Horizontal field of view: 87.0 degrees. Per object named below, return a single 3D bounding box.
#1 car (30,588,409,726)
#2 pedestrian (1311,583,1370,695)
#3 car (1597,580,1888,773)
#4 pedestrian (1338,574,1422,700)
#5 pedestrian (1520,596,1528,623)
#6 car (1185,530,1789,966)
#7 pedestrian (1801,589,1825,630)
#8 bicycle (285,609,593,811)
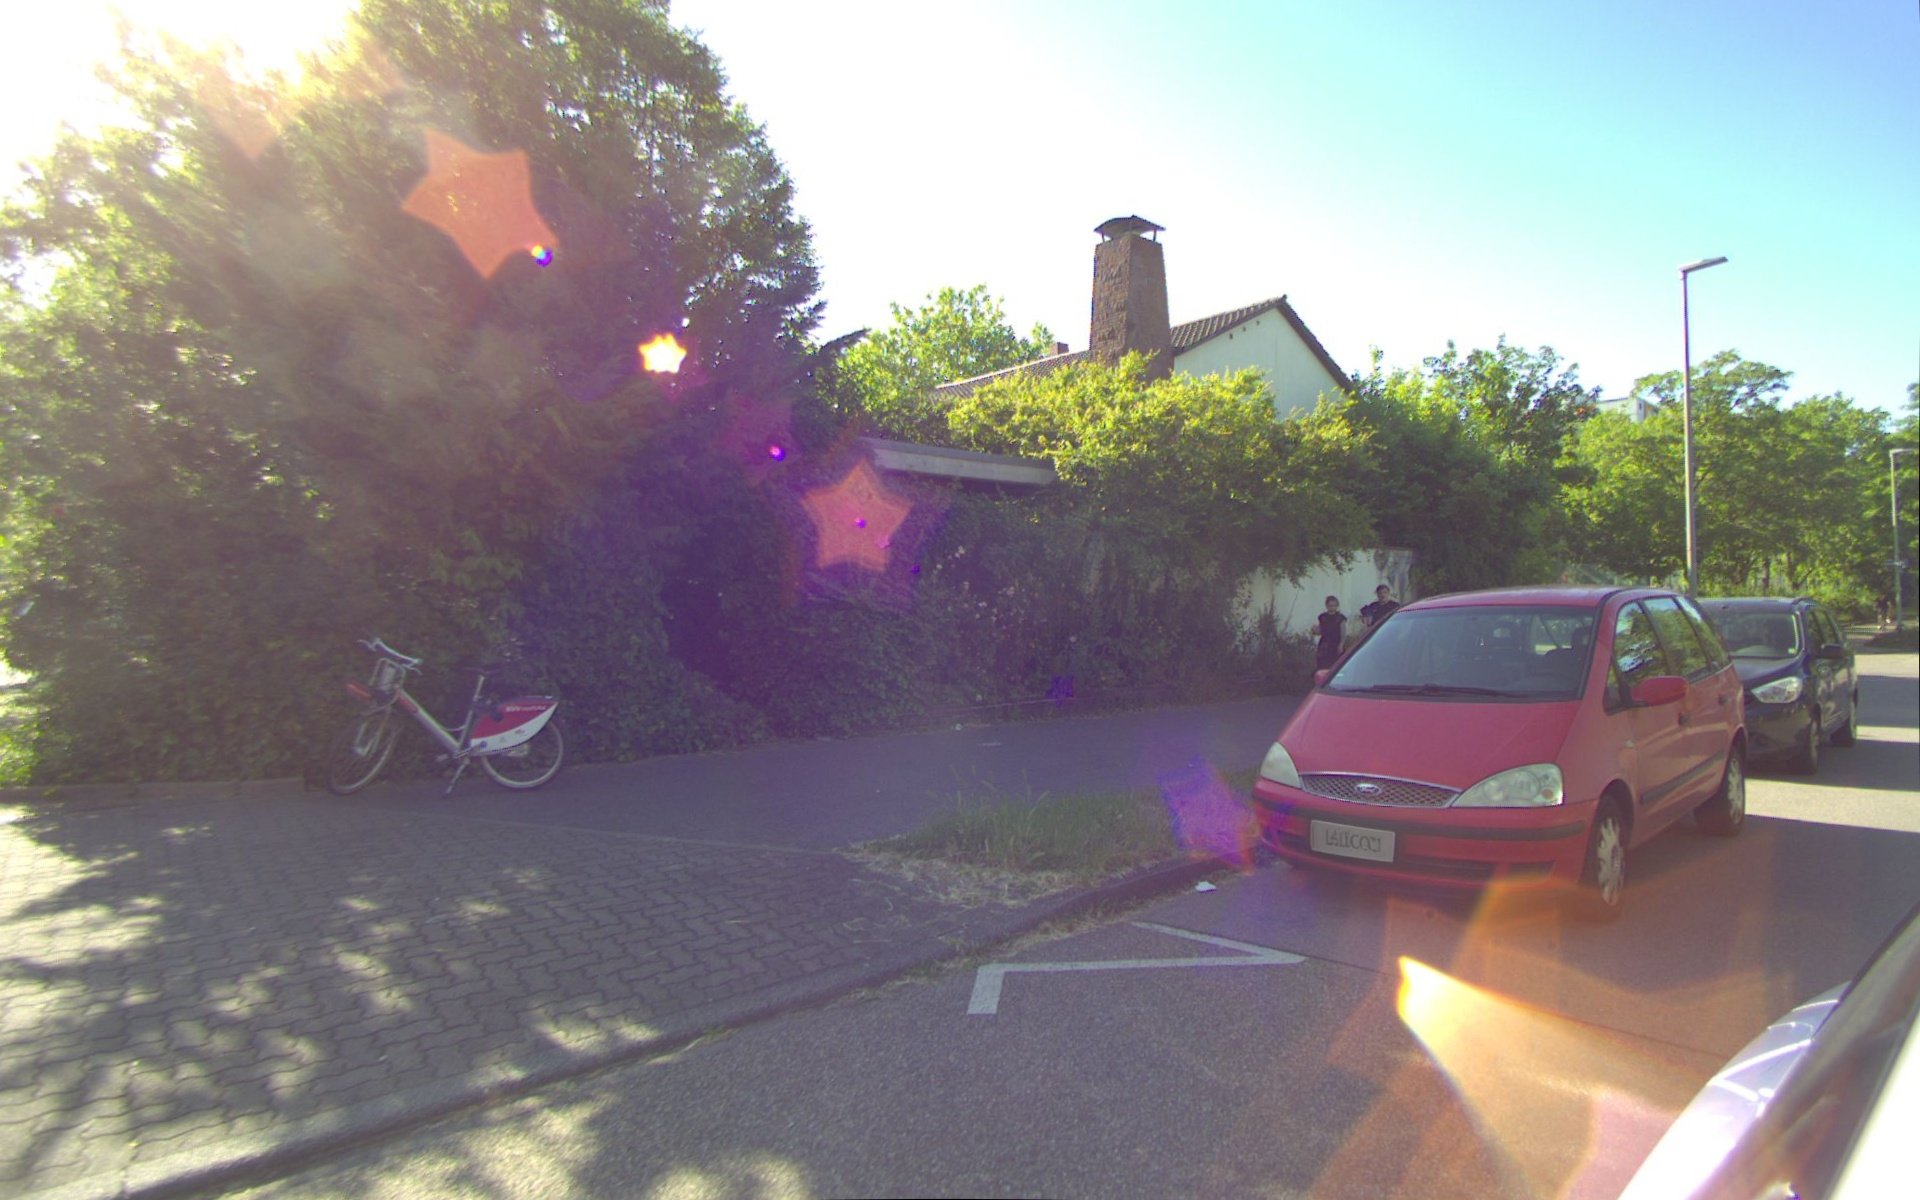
[{"bbox_3d":[-9.395,0.635,13.050,3.736,1.522,1.775,0,-1,-41],"label":"car"},{"bbox_3d":[5.782,0.564,15.368,0.780,1.629,0.573,-2,2,-45],"label":"pedestrian"},{"bbox_3d":[8.527,0.672,10.887,4.277,1.677,1.727,0,-1,-42],"label":"car"},{"bbox_3d":[6.102,0.502,14.702,0.968,1.738,0.804,-2,2,-45],"label":"pedestrian"},{"bbox_3d":[33.320,0.561,59.821,0.319,1.555,0.387,-1,-1,45],"label":"pedestrian"},{"bbox_3d":[3.592,0.630,6.455,4.571,1.828,1.843,0,-1,-41],"label":"car"},{"bbox_3d":[34.851,0.377,41.349,0.629,1.659,0.641,0,-1,-38],"label":"pedestrian"},{"bbox_3d":[-3.652,0.717,7.251,1.857,1.236,0.724,-1,2,-25],"label":"bicycle"}]
